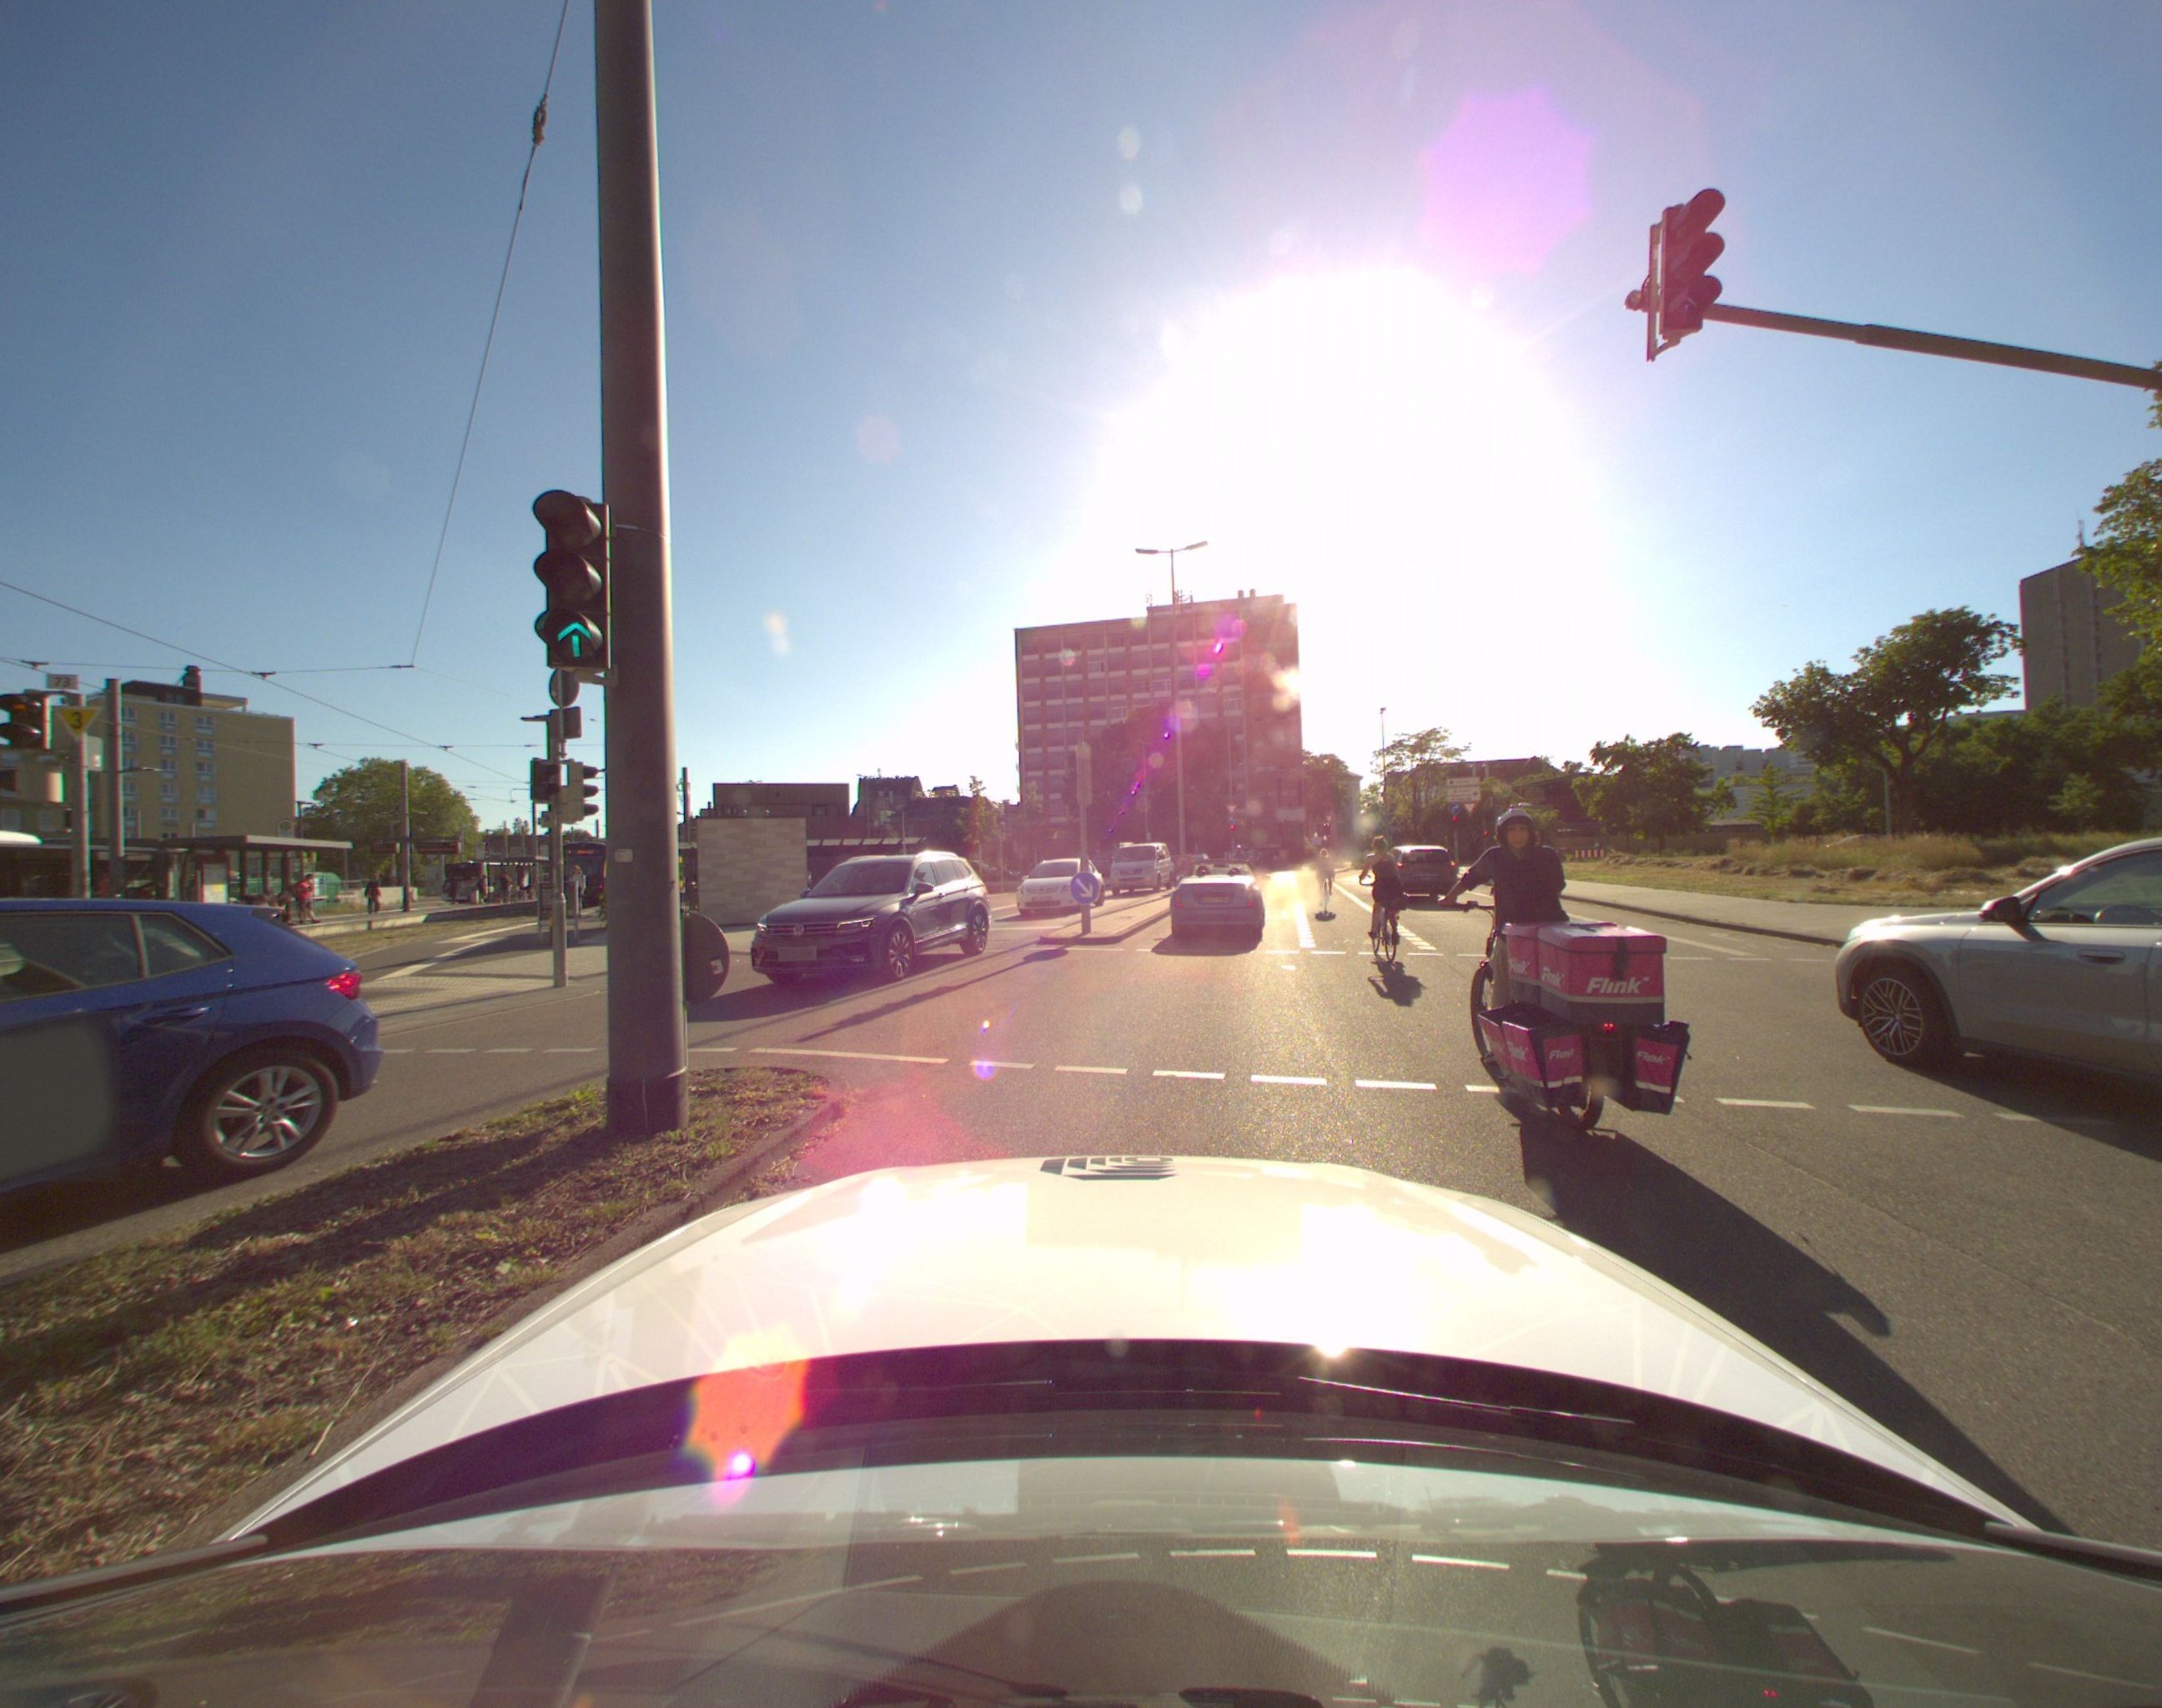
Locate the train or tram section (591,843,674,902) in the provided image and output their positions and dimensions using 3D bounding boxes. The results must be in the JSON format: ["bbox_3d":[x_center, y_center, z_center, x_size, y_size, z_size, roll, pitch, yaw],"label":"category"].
[{"bbox_3d":[-30.557,1.265,56.051,3.021,3.597,12.118,0,-1,-19],"label":"train or tram section"}]

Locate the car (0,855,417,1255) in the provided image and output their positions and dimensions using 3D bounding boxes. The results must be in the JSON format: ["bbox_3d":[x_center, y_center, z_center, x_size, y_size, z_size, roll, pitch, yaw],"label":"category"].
[{"bbox_3d":[-5.225,0.851,3.052,1.724,1.574,3.938,-5,-2,13],"label":"car"}]

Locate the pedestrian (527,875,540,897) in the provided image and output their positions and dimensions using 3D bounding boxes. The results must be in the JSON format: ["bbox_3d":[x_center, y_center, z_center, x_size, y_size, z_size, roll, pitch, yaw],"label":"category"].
[{"bbox_3d":[-46.693,2.722,69.447,0.735,1.749,0.636,-2,-1,-17],"label":"pedestrian"}]

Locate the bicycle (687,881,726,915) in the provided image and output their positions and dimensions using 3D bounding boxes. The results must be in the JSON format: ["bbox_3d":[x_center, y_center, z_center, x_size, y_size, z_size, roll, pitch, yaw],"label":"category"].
[{"bbox_3d":[-13.117,1.519,28.569,0.605,1.115,1.894,0,-1,-4],"label":"bicycle"}]

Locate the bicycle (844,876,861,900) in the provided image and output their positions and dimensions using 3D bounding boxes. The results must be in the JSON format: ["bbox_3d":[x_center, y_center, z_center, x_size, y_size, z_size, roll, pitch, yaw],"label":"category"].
[{"bbox_3d":[-11.136,1.642,39.624,0.609,1.115,1.883,0,-1,-22],"label":"bicycle"}]

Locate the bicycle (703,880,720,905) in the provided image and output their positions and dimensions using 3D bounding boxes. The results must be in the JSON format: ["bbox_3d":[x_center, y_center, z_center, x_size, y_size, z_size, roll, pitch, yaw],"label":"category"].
[{"bbox_3d":[-16.943,1.747,37.407,0.609,1.115,1.883,0,-1,-22],"label":"bicycle"}]

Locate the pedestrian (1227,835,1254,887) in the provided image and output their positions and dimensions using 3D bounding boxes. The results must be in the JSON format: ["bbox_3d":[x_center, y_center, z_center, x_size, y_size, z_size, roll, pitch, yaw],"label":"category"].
[{"bbox_3d":[5.888,0.274,30.084,0.826,1.869,0.925,-1,-1,20],"label":"pedestrian"}]

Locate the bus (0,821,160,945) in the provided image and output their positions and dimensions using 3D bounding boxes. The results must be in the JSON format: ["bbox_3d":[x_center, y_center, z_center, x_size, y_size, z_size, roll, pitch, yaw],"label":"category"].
[{"bbox_3d":[-28.849,0.743,20.787,2.662,3.136,9.580,0,-1,-19],"label":"bus"}]

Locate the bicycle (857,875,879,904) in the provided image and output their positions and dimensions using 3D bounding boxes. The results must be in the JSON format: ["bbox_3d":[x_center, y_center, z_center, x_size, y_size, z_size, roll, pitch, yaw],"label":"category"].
[{"bbox_3d":[-8.444,1.390,32.242,0.609,1.115,1.883,0,-1,-22],"label":"bicycle"}]

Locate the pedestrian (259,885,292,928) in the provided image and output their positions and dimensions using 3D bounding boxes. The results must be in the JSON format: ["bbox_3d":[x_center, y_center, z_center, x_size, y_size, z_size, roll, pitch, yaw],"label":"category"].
[{"bbox_3d":[-26.310,1.720,26.621,0.573,1.346,0.634,-2,-1,-27],"label":"pedestrian"}]

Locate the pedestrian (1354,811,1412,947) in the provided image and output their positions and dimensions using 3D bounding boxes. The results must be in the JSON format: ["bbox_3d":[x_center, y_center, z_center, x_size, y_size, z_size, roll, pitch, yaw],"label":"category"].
[{"bbox_3d":[4.325,0.350,11.712,0.654,1.869,0.875,-1,-1,13],"label":"pedestrian"}]

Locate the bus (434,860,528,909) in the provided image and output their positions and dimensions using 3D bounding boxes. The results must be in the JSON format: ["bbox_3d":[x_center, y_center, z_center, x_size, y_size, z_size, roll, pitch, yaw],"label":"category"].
[{"bbox_3d":[-44.465,2.148,60.877,2.733,3.274,13.359,0,-1,-24],"label":"bus"}]

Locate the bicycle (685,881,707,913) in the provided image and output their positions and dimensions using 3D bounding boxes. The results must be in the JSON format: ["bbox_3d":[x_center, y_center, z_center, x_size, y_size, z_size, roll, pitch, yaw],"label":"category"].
[{"bbox_3d":[-14.172,1.560,30.004,0.609,1.115,1.883,0,-1,-22],"label":"bicycle"}]

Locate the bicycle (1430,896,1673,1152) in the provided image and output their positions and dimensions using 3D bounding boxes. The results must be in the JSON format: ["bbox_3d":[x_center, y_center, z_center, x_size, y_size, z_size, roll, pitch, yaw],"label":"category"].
[{"bbox_3d":[2.828,0.892,5.207,0.551,1.171,2.379,0,-1,10],"label":"bicycle"}]

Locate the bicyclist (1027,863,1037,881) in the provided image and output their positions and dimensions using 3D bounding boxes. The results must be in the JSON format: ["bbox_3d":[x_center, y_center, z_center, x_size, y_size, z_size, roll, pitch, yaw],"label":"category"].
[{"bbox_3d":[-4.558,1.658,75.365,0.745,1.598,0.592,-1,-1,20],"label":"bicyclist"}]

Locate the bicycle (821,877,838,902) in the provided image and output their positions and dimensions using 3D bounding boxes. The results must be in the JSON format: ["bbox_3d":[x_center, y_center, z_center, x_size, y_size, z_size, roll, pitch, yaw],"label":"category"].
[{"bbox_3d":[-11.567,1.623,37.395,0.609,1.115,1.883,0,-1,-22],"label":"bicycle"}]

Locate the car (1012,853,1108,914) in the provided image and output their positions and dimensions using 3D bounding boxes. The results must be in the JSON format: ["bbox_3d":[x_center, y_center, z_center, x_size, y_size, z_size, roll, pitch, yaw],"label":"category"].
[{"bbox_3d":[-0.515,0.776,23.452,1.682,1.560,3.995,-2,0,14],"label":"car"}]

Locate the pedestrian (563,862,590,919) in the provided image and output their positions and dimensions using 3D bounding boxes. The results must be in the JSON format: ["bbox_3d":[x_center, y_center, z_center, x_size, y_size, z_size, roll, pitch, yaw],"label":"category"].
[{"bbox_3d":[-15.905,1.146,25.669,0.641,1.749,0.567,-2,-1,-28],"label":"pedestrian"}]

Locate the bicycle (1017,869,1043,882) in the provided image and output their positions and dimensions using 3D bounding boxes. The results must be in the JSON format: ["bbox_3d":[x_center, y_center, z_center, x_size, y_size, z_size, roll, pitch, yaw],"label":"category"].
[{"bbox_3d":[-4.719,1.969,75.411,2.386,1.191,0.613,-1,-1,20],"label":"bicycle"}]

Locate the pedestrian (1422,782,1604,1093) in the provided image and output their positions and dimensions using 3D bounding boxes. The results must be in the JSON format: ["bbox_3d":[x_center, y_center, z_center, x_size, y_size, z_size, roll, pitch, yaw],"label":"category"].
[{"bbox_3d":[2.832,0.511,5.451,0.801,1.869,0.959,0,-1,10],"label":"pedestrian"}]

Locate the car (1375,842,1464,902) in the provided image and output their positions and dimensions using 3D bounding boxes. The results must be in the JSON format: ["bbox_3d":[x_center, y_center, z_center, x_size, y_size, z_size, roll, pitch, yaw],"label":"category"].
[{"bbox_3d":[10.382,0.555,25.283,1.819,1.689,4.383,-1,-1,13],"label":"car"}]

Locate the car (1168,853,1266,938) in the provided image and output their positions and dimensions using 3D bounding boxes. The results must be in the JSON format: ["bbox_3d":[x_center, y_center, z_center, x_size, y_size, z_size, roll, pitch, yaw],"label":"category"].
[{"bbox_3d":[2.807,0.747,16.118,1.649,1.441,4.169,-1,-1,13],"label":"car"}]

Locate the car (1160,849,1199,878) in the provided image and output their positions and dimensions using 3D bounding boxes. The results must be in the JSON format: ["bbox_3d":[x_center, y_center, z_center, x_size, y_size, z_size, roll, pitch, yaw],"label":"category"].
[{"bbox_3d":[5.880,0.544,48.206,1.786,1.530,4.014,-3,-1,13],"label":"car"}]

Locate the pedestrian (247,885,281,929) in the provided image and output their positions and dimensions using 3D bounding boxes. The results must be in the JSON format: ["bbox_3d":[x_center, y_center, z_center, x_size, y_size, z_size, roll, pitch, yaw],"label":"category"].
[{"bbox_3d":[-26.051,1.686,25.977,0.619,1.340,0.437,-2,-1,-27],"label":"pedestrian"}]

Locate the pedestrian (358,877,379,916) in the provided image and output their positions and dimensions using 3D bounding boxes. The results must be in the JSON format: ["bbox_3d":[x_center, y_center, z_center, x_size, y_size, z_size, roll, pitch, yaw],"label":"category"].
[{"bbox_3d":[-32.593,1.937,37.246,0.643,1.749,0.566,-2,-1,-36],"label":"pedestrian"}]

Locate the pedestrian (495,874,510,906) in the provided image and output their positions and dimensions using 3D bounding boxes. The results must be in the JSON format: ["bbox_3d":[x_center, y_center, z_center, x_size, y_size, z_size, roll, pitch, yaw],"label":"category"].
[{"bbox_3d":[-32.326,1.988,45.530,0.643,1.749,0.566,-2,-1,-36],"label":"pedestrian"}]

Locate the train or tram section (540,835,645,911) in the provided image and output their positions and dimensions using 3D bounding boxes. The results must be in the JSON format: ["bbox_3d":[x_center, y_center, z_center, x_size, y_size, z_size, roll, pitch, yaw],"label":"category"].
[{"bbox_3d":[-26.401,1.029,44.658,2.892,3.597,12.111,0,-1,-21],"label":"train or tram section"}]

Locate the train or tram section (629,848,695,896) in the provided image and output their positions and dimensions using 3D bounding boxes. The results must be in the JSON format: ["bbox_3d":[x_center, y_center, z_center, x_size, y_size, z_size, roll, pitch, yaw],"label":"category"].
[{"bbox_3d":[-34.433,1.486,67.430,3.049,3.597,11.974,0,-1,-18],"label":"train or tram section"}]

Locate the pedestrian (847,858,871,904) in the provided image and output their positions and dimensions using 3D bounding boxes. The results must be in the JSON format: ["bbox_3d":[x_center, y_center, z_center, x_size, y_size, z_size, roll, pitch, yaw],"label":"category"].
[{"bbox_3d":[-9.137,1.101,33.516,0.904,1.869,0.682,0,-1,-22],"label":"pedestrian"}]

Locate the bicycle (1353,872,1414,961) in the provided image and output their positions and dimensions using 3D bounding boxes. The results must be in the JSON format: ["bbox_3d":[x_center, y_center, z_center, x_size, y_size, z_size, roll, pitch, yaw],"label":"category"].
[{"bbox_3d":[4.296,0.836,11.666,0.560,1.151,1.956,-1,-1,13],"label":"bicycle"}]

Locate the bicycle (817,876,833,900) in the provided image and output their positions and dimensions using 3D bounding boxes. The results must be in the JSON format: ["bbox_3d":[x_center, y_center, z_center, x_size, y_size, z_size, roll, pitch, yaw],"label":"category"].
[{"bbox_3d":[-12.335,1.639,39.253,0.609,1.115,1.883,0,-1,-22],"label":"bicycle"}]

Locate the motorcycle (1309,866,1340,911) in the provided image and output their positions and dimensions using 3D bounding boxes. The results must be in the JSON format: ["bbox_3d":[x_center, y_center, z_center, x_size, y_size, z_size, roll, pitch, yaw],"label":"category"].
[{"bbox_3d":[6.283,0.859,21.089,0.609,1.098,2.368,-1,-1,13],"label":"motorcycle"}]

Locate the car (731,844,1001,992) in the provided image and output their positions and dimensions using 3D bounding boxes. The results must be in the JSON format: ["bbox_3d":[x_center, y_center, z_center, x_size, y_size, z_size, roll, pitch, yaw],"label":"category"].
[{"bbox_3d":[-2.838,0.780,11.994,1.749,1.706,4.548,-4,-1,14],"label":"car"}]

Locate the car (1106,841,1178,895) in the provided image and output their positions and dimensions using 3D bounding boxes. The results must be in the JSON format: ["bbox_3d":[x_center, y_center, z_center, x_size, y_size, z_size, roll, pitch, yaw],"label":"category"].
[{"bbox_3d":[2.583,0.524,33.158,1.894,1.945,4.726,-4,-1,16],"label":"car"}]

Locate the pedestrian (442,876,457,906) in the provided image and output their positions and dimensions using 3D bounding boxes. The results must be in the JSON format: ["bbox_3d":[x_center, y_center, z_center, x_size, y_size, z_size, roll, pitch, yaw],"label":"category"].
[{"bbox_3d":[-37.488,2.203,48.319,0.573,1.749,0.634,-2,-1,-29],"label":"pedestrian"}]

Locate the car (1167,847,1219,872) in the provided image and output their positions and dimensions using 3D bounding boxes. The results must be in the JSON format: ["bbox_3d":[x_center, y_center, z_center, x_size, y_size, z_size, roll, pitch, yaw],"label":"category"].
[{"bbox_3d":[7.737,0.337,55.811,1.781,1.530,4.026,-4,-1,36],"label":"car"}]

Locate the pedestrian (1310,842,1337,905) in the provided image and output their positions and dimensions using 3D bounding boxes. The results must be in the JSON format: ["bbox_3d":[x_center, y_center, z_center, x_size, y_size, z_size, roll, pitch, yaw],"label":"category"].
[{"bbox_3d":[6.265,0.495,21.072,0.583,1.598,1.028,-1,-1,13],"label":"pedestrian"}]

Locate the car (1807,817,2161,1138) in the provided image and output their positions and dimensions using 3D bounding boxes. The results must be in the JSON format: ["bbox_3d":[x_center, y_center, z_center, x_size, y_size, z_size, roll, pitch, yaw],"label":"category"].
[{"bbox_3d":[6.296,0.612,4.193,1.776,1.594,4.340,0,-1,10],"label":"car"}]

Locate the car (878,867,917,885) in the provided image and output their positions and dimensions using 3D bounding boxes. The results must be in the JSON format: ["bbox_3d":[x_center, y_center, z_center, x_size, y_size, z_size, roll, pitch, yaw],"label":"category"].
[{"bbox_3d":[-16.785,1.991,74.501,3.554,1.560,1.655,-3,-1,41],"label":"car"}]

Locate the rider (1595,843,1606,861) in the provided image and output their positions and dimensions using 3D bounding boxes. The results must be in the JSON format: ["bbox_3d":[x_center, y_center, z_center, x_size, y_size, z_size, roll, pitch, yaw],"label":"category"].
[{"bbox_3d":[46.817,-0.186,73.441,0.744,1.598,0.593,-1,-1,26],"label":"rider"}]

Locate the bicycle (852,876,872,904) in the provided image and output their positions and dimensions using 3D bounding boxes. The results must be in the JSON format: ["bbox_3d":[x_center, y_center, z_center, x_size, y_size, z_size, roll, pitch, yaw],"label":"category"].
[{"bbox_3d":[-9.185,1.485,34.063,0.609,1.115,1.883,0,-1,-22],"label":"bicycle"}]

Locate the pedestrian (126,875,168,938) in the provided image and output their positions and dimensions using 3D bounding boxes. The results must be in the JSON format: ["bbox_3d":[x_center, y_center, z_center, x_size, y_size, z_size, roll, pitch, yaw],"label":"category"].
[{"bbox_3d":[-26.624,1.478,23.215,0.538,1.749,0.557,-2,-1,-15],"label":"pedestrian"}]

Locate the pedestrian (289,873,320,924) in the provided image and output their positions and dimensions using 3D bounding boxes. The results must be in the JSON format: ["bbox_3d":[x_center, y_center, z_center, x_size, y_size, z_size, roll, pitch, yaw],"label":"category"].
[{"bbox_3d":[-27.053,1.537,28.379,0.573,1.749,0.634,-2,-1,-27],"label":"pedestrian"}]

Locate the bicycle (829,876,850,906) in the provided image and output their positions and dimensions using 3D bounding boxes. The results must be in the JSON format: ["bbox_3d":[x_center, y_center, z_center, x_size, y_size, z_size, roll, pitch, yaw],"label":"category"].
[{"bbox_3d":[-9.478,1.449,31.912,0.609,1.115,1.883,0,-1,-22],"label":"bicycle"}]

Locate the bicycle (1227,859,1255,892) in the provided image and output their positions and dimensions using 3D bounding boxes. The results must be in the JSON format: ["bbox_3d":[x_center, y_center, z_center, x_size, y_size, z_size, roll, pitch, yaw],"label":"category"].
[{"bbox_3d":[5.940,0.779,30.191,0.603,1.191,2.427,-1,-1,21],"label":"bicycle"}]

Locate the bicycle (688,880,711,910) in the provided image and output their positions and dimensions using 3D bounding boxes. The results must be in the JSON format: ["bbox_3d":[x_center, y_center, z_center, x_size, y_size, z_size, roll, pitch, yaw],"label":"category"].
[{"bbox_3d":[-14.896,1.597,31.823,0.609,1.115,1.884,0,-1,-20],"label":"bicycle"}]

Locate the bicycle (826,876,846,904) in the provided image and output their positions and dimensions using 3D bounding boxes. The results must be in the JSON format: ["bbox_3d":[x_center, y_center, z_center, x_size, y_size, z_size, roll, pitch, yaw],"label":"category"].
[{"bbox_3d":[-10.203,1.499,33.886,0.609,1.115,1.883,0,-1,-22],"label":"bicycle"}]
